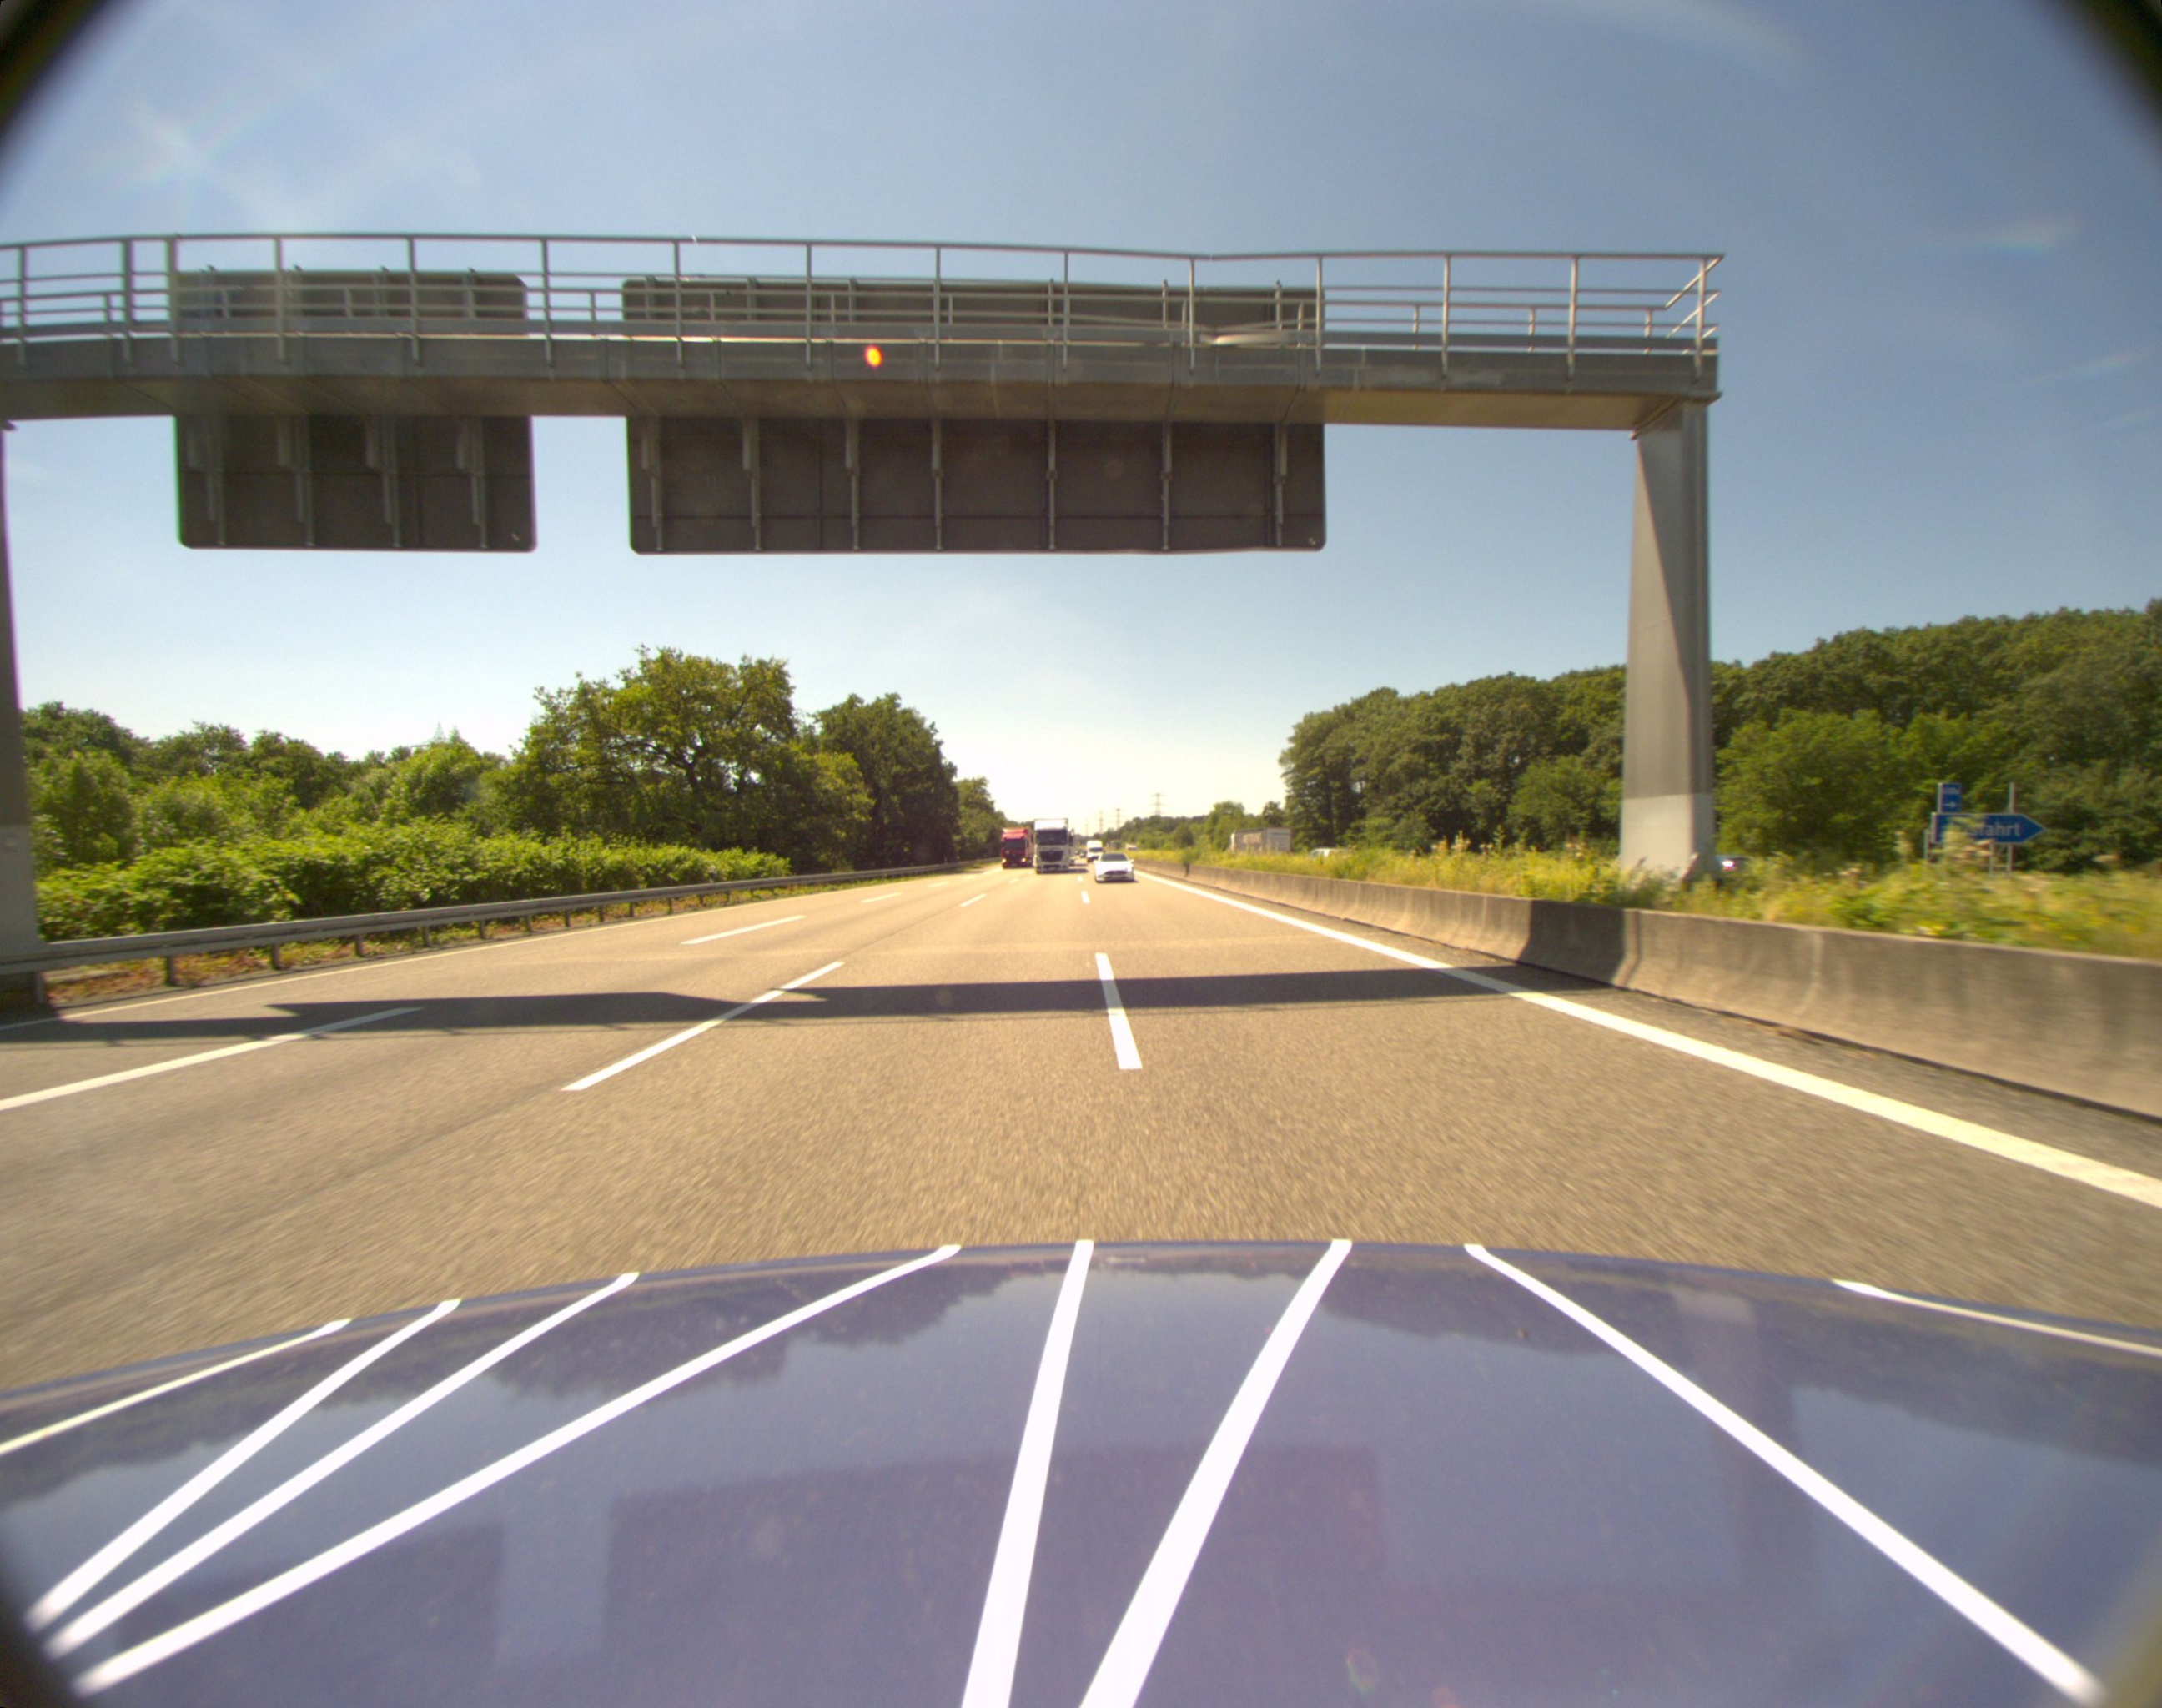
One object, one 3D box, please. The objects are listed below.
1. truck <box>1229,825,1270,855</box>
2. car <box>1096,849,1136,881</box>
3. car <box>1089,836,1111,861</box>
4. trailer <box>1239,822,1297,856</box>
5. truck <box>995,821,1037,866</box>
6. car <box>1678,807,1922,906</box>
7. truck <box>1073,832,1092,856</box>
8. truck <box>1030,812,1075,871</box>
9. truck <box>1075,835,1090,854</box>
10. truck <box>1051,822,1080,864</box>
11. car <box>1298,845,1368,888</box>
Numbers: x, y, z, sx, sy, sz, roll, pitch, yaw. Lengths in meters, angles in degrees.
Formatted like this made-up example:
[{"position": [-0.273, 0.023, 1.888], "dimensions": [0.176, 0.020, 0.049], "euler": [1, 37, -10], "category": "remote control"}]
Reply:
[{"position": [19.127, -1.594, 86.463], "dimensions": [2.809, 3.167, 7.292], "euler": [-2, 1, -1], "category": "truck"}, {"position": [1.663, 0.495, 37.491], "dimensions": [1.771, 1.440, 5.108], "euler": [-1, 1, 1], "category": "car"}, {"position": [2.247, -0.728, 92.544], "dimensions": [2.522, 2.857, 6.399], "euler": [-2, 1, 1], "category": "car"}, {"position": [19.289, -1.521, 79.315], "dimensions": [2.976, 3.167, 11.122], "euler": [-2, 1, -1], "category": "trailer"}, {"position": [-6.615, -1.069, 78.599], "dimensions": [3.334, 4.351, 8.501], "euler": [-1, 1, 1], "category": "truck"}, {"position": [16.452, 0.034, 17.729], "dimensions": [1.998, 2.002, 4.000], "euler": [-1, 1, 2], "category": "car"}, {"position": [0.272, -1.811, 143.804], "dimensions": [3.334, 4.351, 8.501], "euler": [-2, 1, 1], "category": "truck"}, {"position": [-2.066, -0.948, 58.490], "dimensions": [2.991, 4.187, 7.592], "euler": [-1, 1, 1], "category": "truck"}, {"position": [0.370, -2.271, 185.551], "dimensions": [3.334, 4.351, 8.501], "euler": [-2, 1, 1], "category": "truck"}, {"position": [-1.587, -1.145, 81.815], "dimensions": [2.700, 4.232, 8.242], "euler": [-2, 1, 1], "category": "truck"}, {"position": [12.518, 0.577, 38.009], "dimensions": [1.998, 2.002, 4.544], "euler": [-1, 1, 1], "category": "car"}]
